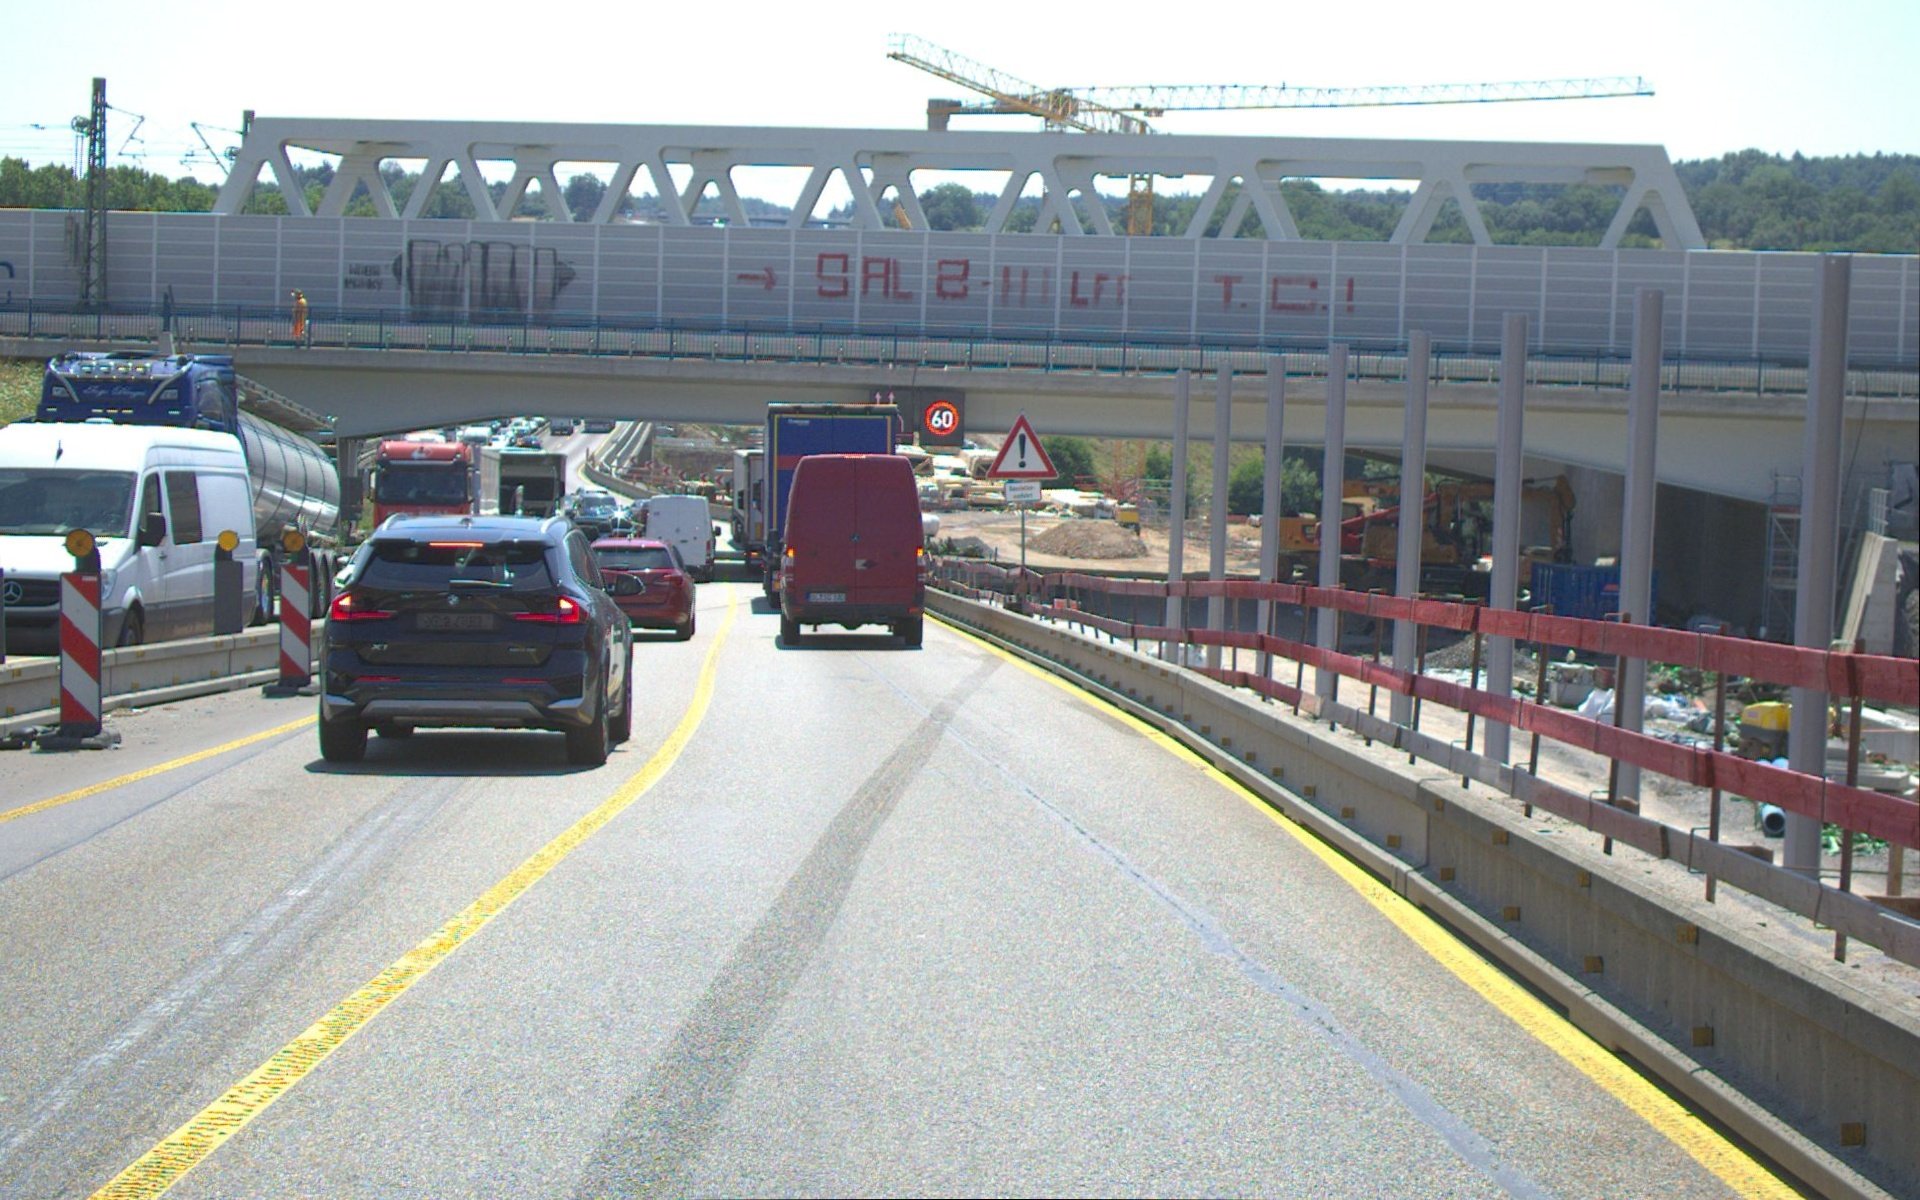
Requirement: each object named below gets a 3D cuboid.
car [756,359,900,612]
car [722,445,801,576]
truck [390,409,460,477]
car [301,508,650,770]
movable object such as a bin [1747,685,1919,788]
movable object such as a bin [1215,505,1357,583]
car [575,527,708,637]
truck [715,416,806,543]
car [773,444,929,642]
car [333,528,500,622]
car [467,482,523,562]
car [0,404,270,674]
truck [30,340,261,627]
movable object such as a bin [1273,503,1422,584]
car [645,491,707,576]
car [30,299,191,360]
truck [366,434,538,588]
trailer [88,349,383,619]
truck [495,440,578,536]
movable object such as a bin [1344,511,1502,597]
[{"bbox_3d":[-2.933,-2.420,73.492,2.620,5.014,10.399,0,2,-4],"label":"car"},{"bbox_3d":[-6.577,-2.956,113.141,2.450,4.146,6.862,0,2,-4],"label":"car"},{"bbox_3d":[-32.320,-9.409,207.289,2.834,3.839,12.917,1,2,-15],"label":"truck"},{"bbox_3d":[-3.215,0.183,23.611,1.879,1.612,4.500,0,2,-2],"label":"car"},{"bbox_3d":[15.333,2.334,59.169,3.102,1.558,1.550,2,2,32],"label":"movable object such as a bin"},{"bbox_3d":[12.320,-2.126,130.074,5.146,2.798,2.142,1,1,2],"label":"movable object such as a bin"},{"bbox_3d":[-4.625,-0.297,50.362,1.775,1.512,4.207,0,2,-3],"label":"car"},{"bbox_3d":[-8.966,-5.315,152.994,2.834,5.380,12.916,1,1,-8],"label":"truck"},{"bbox_3d":[-1.602,-0.835,48.945,1.988,2.681,4.624,0,2,-4],"label":"car"},{"bbox_3d":[-8.649,-0.433,55.075,1.817,1.379,4.584,1,1,1],"label":"car"},{"bbox_3d":[-15.851,-2.675,117.467,1.580,2.645,5.392,1,1,-5],"label":"car"},{"bbox_3d":[-9.127,-0.693,36.881,1.993,2.598,7.011,1,1,0],"label":"car"},{"bbox_3d":[-11.907,-1.692,50.515,2.358,4.001,4.000,1,1,1],"label":"truck"},{"bbox_3d":[14.121,-2.062,125.509,5.146,2.798,2.142,1,1,2],"label":"movable object such as a bin"},{"bbox_3d":[-8.365,-1.977,101.337,1.775,2.432,4.207,0,2,-4],"label":"car"},{"bbox_3d":[-27.079,-8.610,109.680,4.555,1.776,1.960,1,1,9],"label":"car"},{"bbox_3d":[-13.654,-2.421,93.472,2.834,3.839,12.913,1,1,-1],"label":"truck"},{"bbox_3d":[-11.840,-1.892,57.329,2.347,4.001,11.450,1,1,0],"label":"trailer"},{"bbox_3d":[-17.924,-4.711,146.169,2.834,3.839,12.915,1,1,-4],"label":"truck"},{"bbox_3d":[15.963,-1.596,118.708,5.146,2.798,2.142,1,1,2],"label":"movable object such as a bin"}]
